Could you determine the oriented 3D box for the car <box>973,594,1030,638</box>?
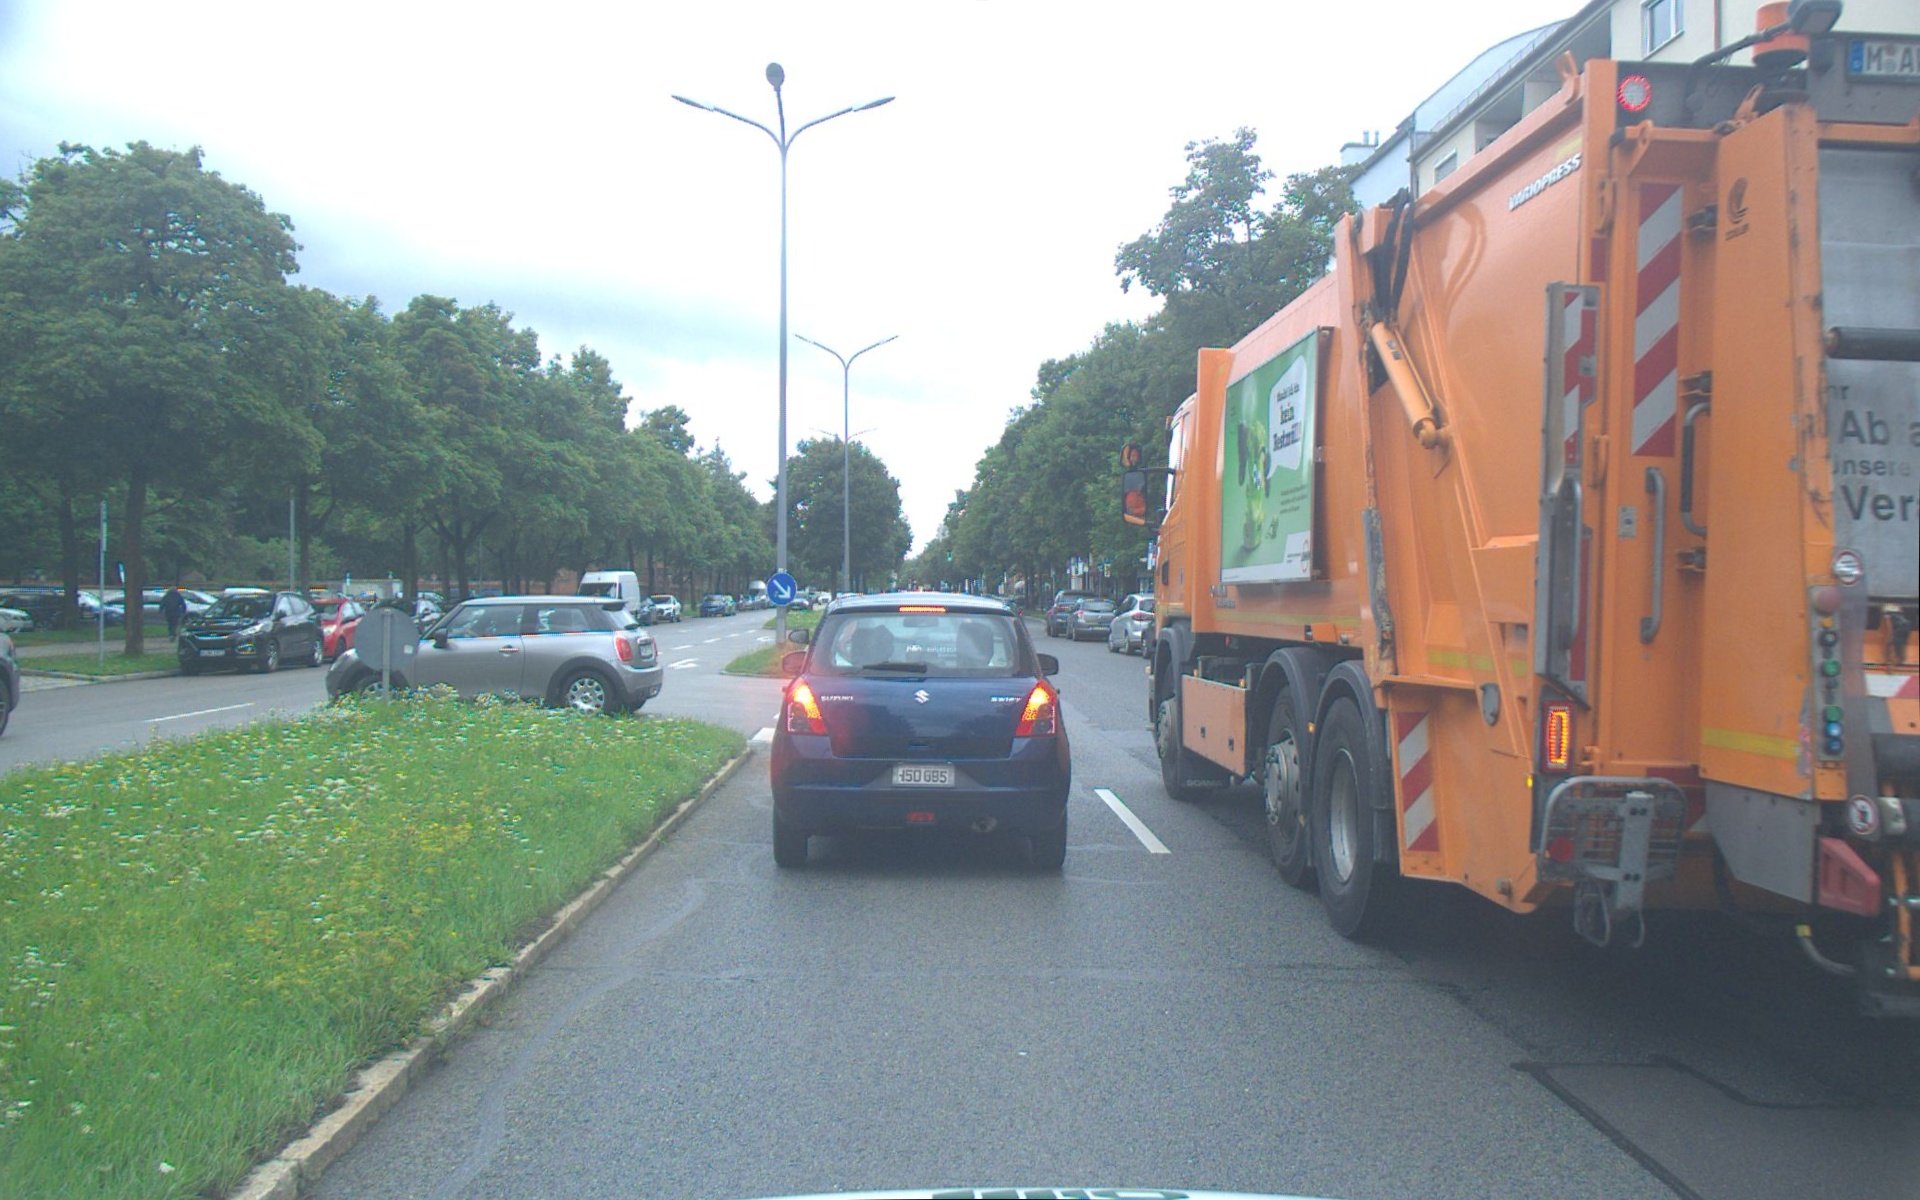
[{"bbox_3d":[1.417,0.533,57.609,1.723,1.438,4.461,1,0,-2],"label":"car"}]

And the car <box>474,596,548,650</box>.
[{"bbox_3d":[-15.477,0.770,57.141,1.599,1.771,3.877,1,0,-2],"label":"car"}]

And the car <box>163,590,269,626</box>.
[{"bbox_3d":[-32.045,0.355,71.311,3.792,1.471,1.670,1,0,-7],"label":"car"}]

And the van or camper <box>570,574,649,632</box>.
[{"bbox_3d":[-16.154,0.113,76.643,2.074,2.525,7.447,1,0,-1],"label":"van or camper"}]

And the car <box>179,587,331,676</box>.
[{"bbox_3d":[-14.957,0.646,35.322,1.682,1.771,3.877,1,0,-2],"label":"car"}]

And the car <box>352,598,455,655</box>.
[{"bbox_3d":[-15.189,0.697,45.331,1.634,1.471,3.877,1,0,-2],"label":"car"}]

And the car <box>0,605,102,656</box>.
[{"bbox_3d":[-28.057,0.904,49.545,3.792,1.471,1.670,1,0,-7],"label":"car"}]

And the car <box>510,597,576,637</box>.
[{"bbox_3d":[-15.709,0.625,62.471,1.599,1.456,3.877,1,0,-2],"label":"car"}]

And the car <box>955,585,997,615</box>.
[{"bbox_3d":[0.791,-0.018,83.565,1.697,1.457,4.438,1,0,-5],"label":"car"}]

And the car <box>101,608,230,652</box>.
[{"bbox_3d":[-28.420,1.069,59.283,3.792,1.471,1.670,1,0,-7],"label":"car"}]

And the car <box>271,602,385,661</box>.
[{"bbox_3d":[-15.353,0.741,40.337,1.559,1.335,3.379,1,0,-2],"label":"car"}]

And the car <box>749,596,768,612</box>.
[{"bbox_3d":[-20.267,0.408,166.423,1.599,1.610,3.877,1,0,-2],"label":"car"}]

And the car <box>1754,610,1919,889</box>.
[{"bbox_3d":[5.987,0.835,8.874,1.584,1.491,3.673,2,0,-2],"label":"car"}]

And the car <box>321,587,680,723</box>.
[{"bbox_3d":[-5.263,0.600,19.213,3.643,1.488,1.688,0,0,4],"label":"car"}]

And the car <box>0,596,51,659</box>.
[{"bbox_3d":[-28.217,0.754,46.942,3.844,1.748,1.670,1,0,-7],"label":"car"}]

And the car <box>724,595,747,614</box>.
[{"bbox_3d":[-19.733,0.416,145.202,1.599,1.610,3.877,1,0,-2],"label":"car"}]

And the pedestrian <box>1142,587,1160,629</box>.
[{"bbox_3d":[9.454,0.376,81.903,0.778,2.049,1.006,0,0,-1],"label":"pedestrian"}]

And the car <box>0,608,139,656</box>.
[{"bbox_3d":[-29.033,1.026,53.786,3.792,1.471,1.670,1,0,-7],"label":"car"}]

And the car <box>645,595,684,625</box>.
[{"bbox_3d":[-16.457,0.542,92.163,1.599,1.610,3.877,1,0,-2],"label":"car"}]

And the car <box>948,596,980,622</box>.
[{"bbox_3d":[0.194,0.485,93.464,1.648,1.408,3.917,1,0,-2],"label":"car"}]

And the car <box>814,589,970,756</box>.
[{"bbox_3d":[-0.684,0.654,16.650,1.415,1.509,3.105,0,0,-3],"label":"car"}]

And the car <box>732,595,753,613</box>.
[{"bbox_3d":[-20.405,0.397,155.005,1.599,1.610,3.877,1,0,-2],"label":"car"}]

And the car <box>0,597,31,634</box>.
[{"bbox_3d":[-39.801,0.585,65.859,4.596,1.471,1.672,1,0,-1],"label":"car"}]

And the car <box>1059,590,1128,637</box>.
[{"bbox_3d":[4.588,0.444,57.392,1.828,1.544,4.222,0,0,-3],"label":"car"}]

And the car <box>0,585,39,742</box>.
[{"bbox_3d":[-10.922,0.707,15.859,1.731,1.651,4.505,-2,0,-2],"label":"car"}]

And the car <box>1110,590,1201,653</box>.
[{"bbox_3d":[5.158,0.528,44.143,1.756,1.585,4.222,0,0,-2],"label":"car"}]

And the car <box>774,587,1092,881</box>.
[{"bbox_3d":[-0.222,0.684,10.576,1.648,1.528,3.917,0,0,-3],"label":"car"}]

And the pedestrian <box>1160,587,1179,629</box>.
[{"bbox_3d":[10.373,0.390,81.972,0.778,2.049,1.006,0,0,-1],"label":"pedestrian"}]

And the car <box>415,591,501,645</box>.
[{"bbox_3d":[-15.349,0.535,50.768,1.559,1.585,3.877,1,0,-2],"label":"car"}]

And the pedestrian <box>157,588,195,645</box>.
[{"bbox_3d":[-21.822,0.451,46.049,0.713,1.561,0.720,1,0,-1],"label":"pedestrian"}]

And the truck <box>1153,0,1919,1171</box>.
[{"bbox_3d":[3.135,-0.145,8.906,2.977,3.245,9.131,1,0,-1],"label":"truck"}]

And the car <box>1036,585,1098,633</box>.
[{"bbox_3d":[3.994,0.315,62.197,1.828,1.712,4.222,0,0,-3],"label":"car"}]
